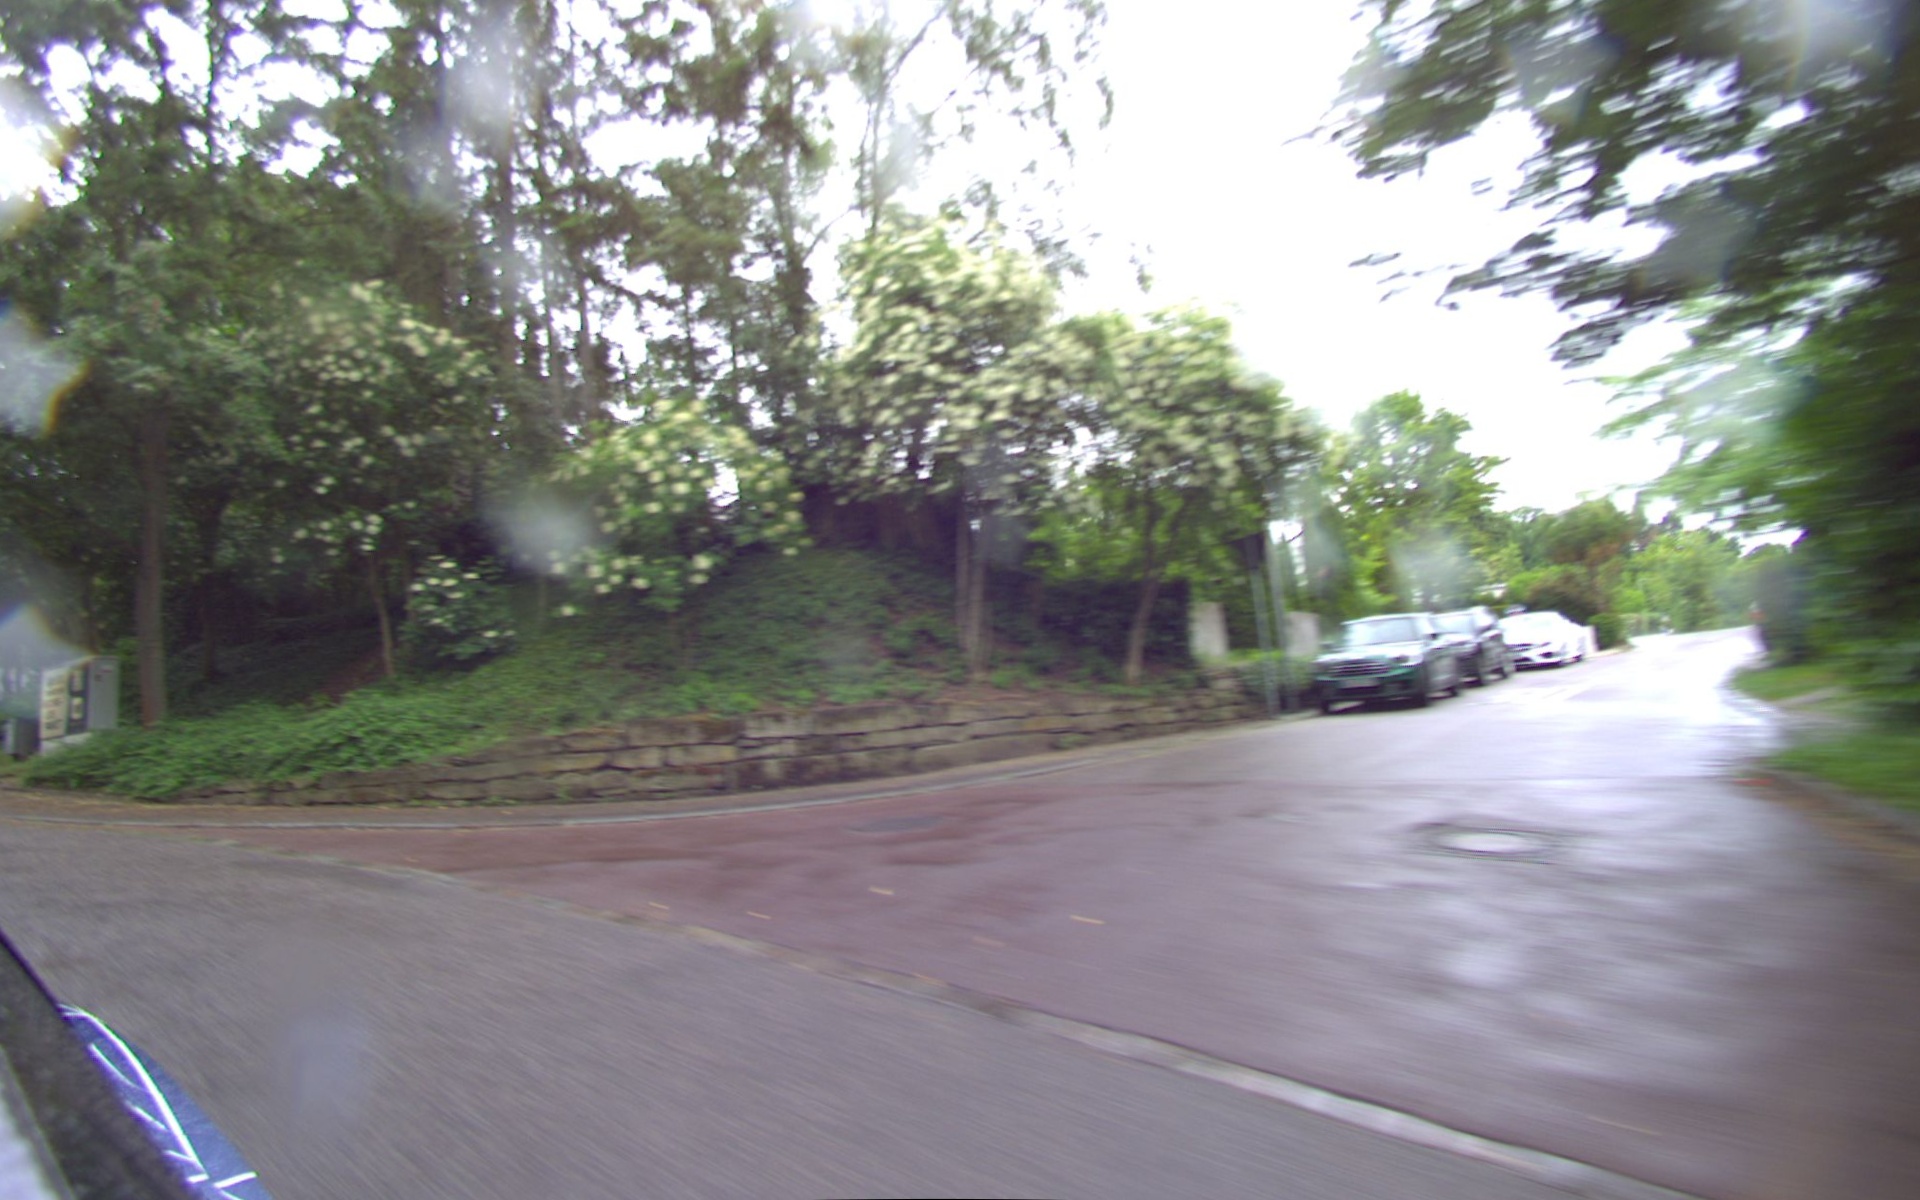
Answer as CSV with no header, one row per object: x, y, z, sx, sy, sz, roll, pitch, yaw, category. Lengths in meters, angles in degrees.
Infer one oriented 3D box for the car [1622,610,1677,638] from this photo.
41.671,1.491,61.232,1.787,1.420,3.971,-3,-5,21,car

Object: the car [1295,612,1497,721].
7.539,1.082,17.304,1.838,1.473,3.944,-12,-8,41,car

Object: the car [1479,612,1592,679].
14.662,1.189,25.713,1.836,1.517,3.948,-5,-6,38,car

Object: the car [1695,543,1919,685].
12.281,0.087,13.262,1.672,1.427,4.008,-8,-9,-12,car

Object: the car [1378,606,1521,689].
10.414,1.009,21.403,1.836,1.564,3.948,-5,-5,38,car

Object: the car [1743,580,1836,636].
29.270,0.336,35.834,1.802,1.764,3.959,-2,-4,29,car
